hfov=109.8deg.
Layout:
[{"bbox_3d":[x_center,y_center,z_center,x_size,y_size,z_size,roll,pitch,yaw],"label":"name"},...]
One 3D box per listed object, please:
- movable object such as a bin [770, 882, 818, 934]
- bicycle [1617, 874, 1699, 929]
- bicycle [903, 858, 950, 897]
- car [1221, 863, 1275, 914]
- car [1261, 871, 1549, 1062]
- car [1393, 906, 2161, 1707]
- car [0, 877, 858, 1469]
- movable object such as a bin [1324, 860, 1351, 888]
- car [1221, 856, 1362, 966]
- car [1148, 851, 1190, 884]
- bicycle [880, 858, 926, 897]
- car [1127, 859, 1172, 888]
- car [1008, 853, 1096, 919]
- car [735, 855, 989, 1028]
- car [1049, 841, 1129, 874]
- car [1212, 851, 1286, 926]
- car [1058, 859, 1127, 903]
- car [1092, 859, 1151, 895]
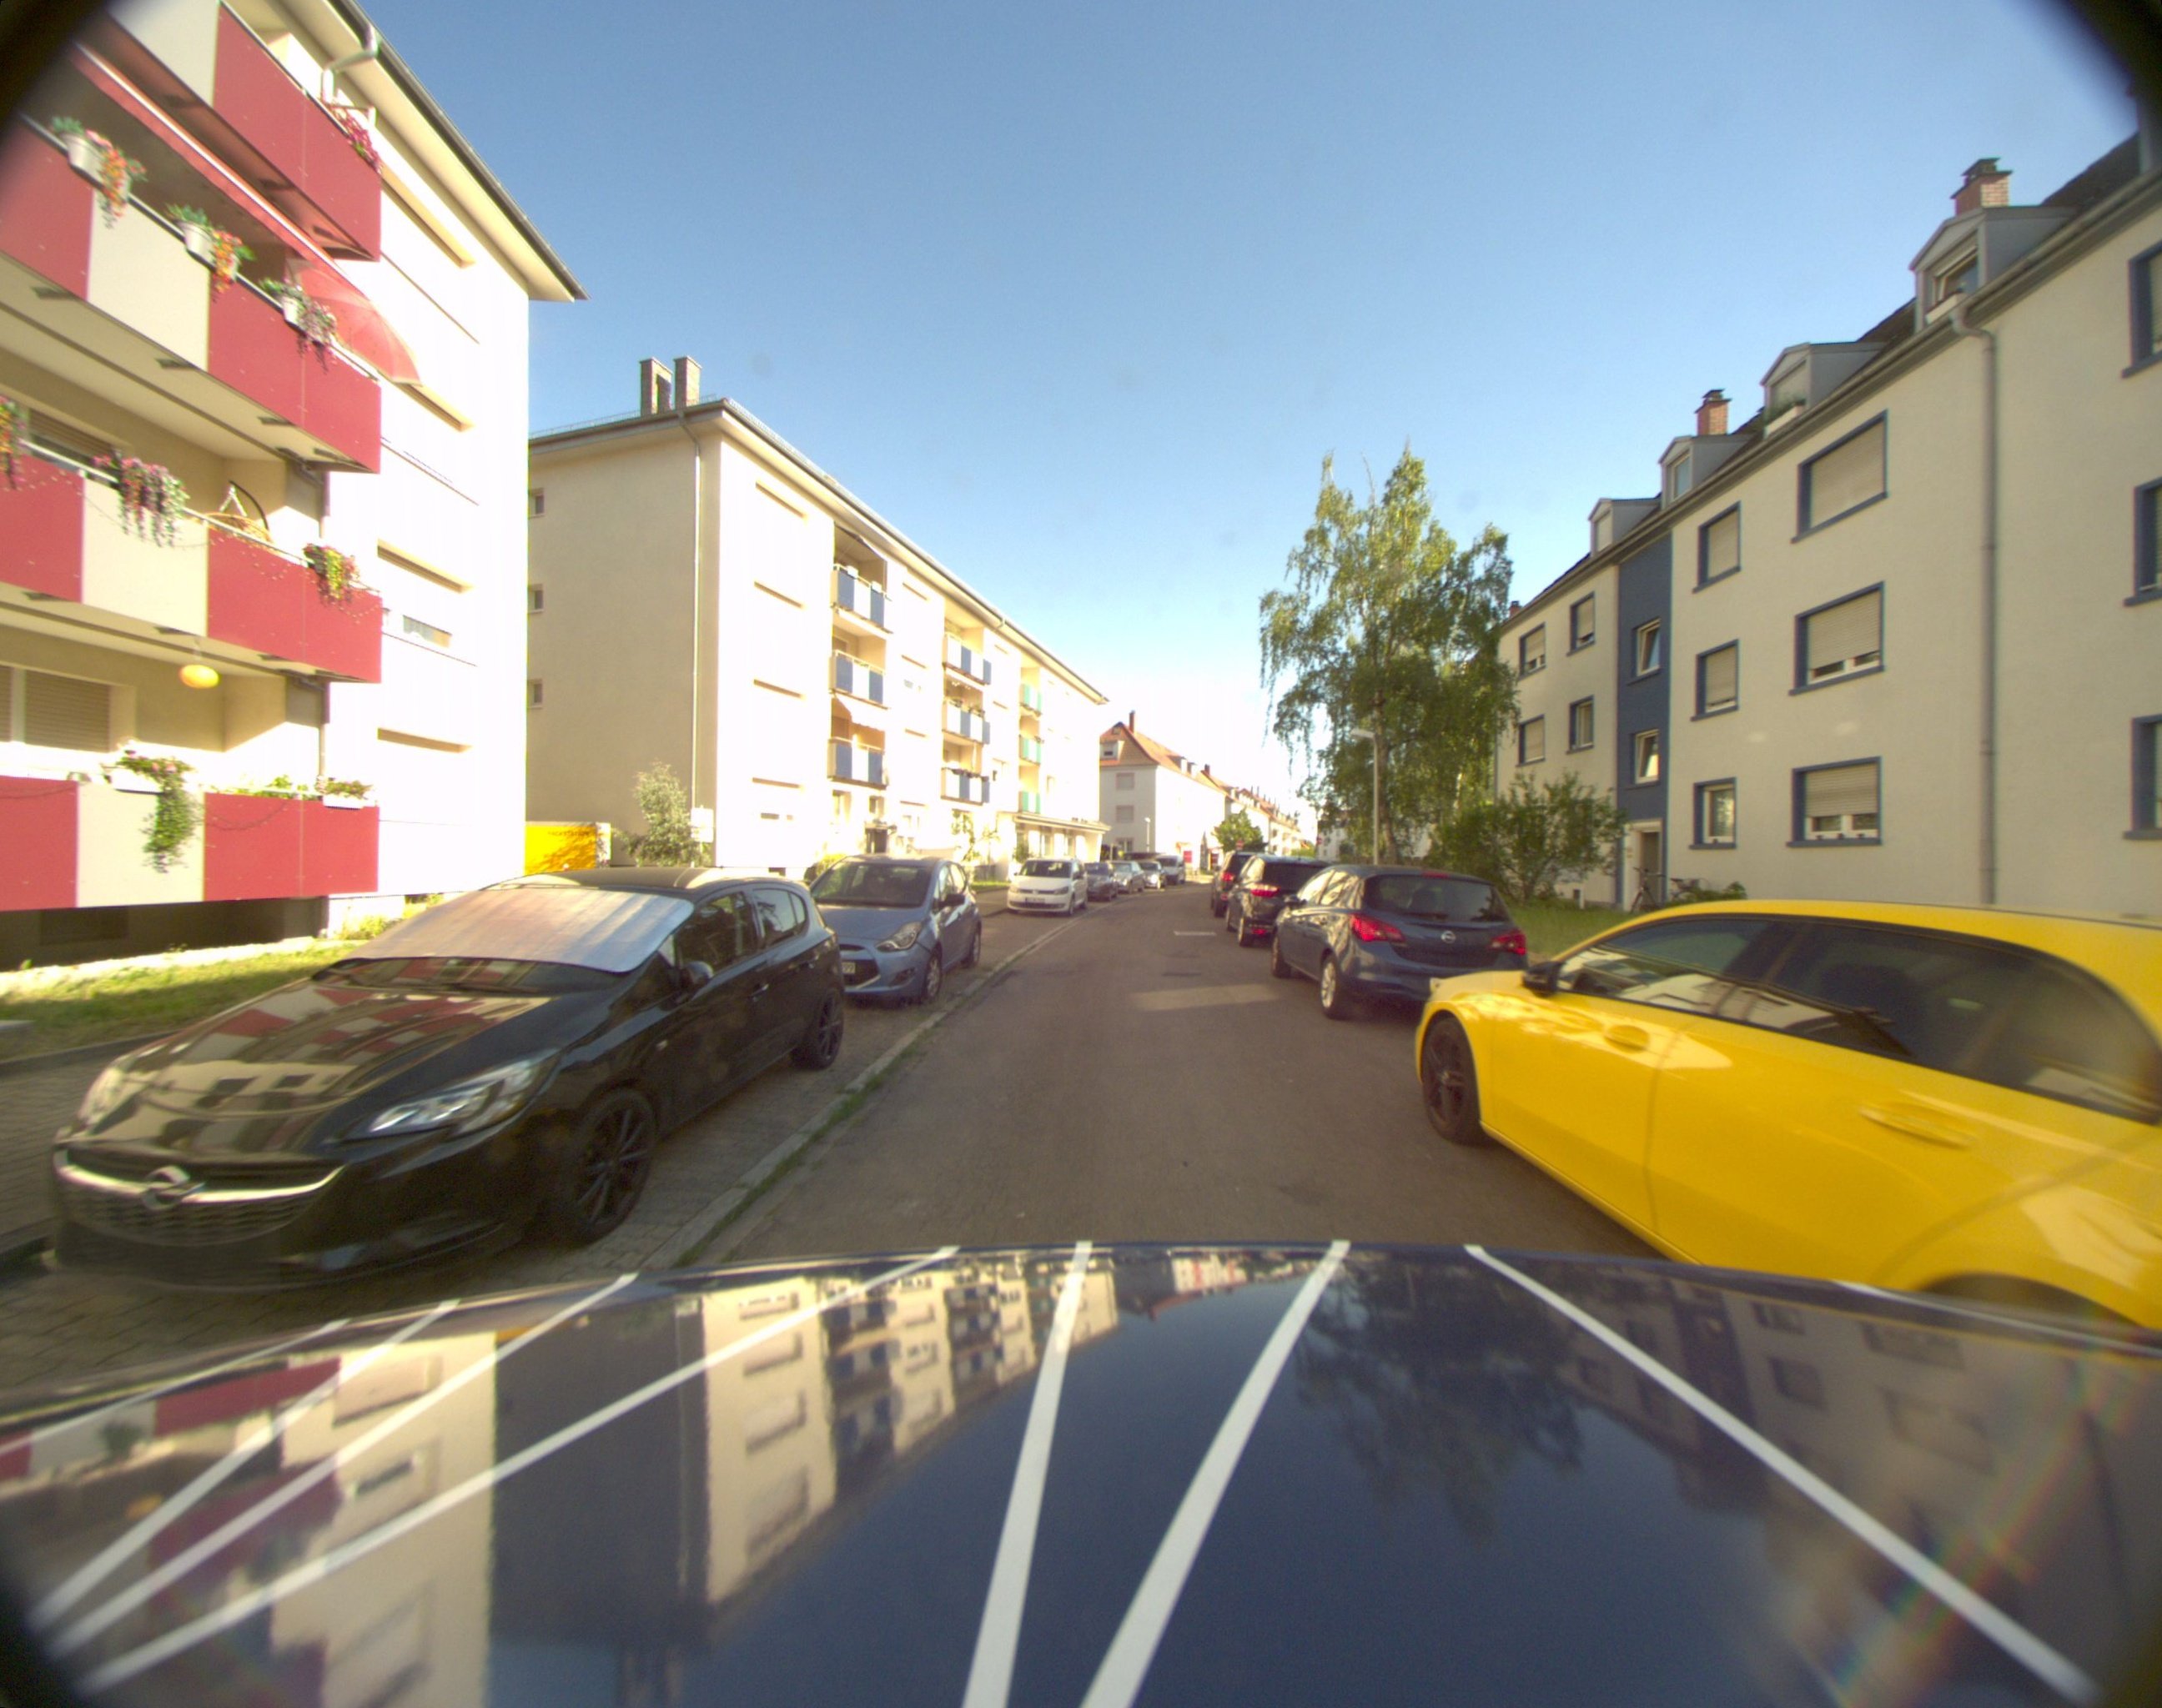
[{"bbox_3d":[-5.265,0.986,13.949,0.585,0.883,0.641,3,0,2],"label":"movable object such as a bin"},{"bbox_3d":[12.762,1.043,16.822,1.411,1.145,0.415,2,1,4],"label":"bicycle"},{"bbox_3d":[-4.971,0.754,24.546,0.515,1.196,1.764,3,0,23],"label":"bicycle"},{"bbox_3d":[5.673,1.100,25.724,1.557,1.434,3.972,4,1,13],"label":"car"},{"bbox_3d":[3.166,0.979,8.351,1.697,1.436,4.021,1,0,5],"label":"car"},{"bbox_3d":[2.665,1.007,2.474,1.698,1.381,4.158,2,-1,2],"label":"car"},{"bbox_3d":[-2.771,0.976,4.154,1.739,1.499,3.886,4,0,2],"label":"car"},{"bbox_3d":[12.873,0.977,38.149,1.221,1.372,0.768,0,0,24],"label":"movable object such as a bin"},{"bbox_3d":[3.696,0.941,14.036,1.697,1.551,4.159,6,-1,6],"label":"car"},{"bbox_3d":[5.352,0.789,45.888,1.749,1.813,4.137,2,0,17],"label":"car"},{"bbox_3d":[-5.797,0.763,24.814,0.515,1.196,1.836,3,0,19],"label":"bicycle"},{"bbox_3d":[3.723,0.987,40.540,1.680,1.399,4.550,0,0,14],"label":"car"},{"bbox_3d":[-0.731,0.839,22.178,1.697,1.646,4.393,2,1,9],"label":"car"},{"bbox_3d":[-2.389,0.869,9.425,1.769,1.626,4.042,2,0,3],"label":"car"},{"bbox_3d":[0.640,0.318,60.228,5.948,2.529,2.003,0,-1,17],"label":"car"},{"bbox_3d":[4.461,0.834,20.676,1.558,1.704,4.340,4,1,8],"label":"car"},{"bbox_3d":[0.536,0.931,28.118,1.696,1.423,4.692,0,0,12],"label":"car"},{"bbox_3d":[1.909,0.990,34.594,1.680,1.438,4.729,0,0,16],"label":"car"}]
